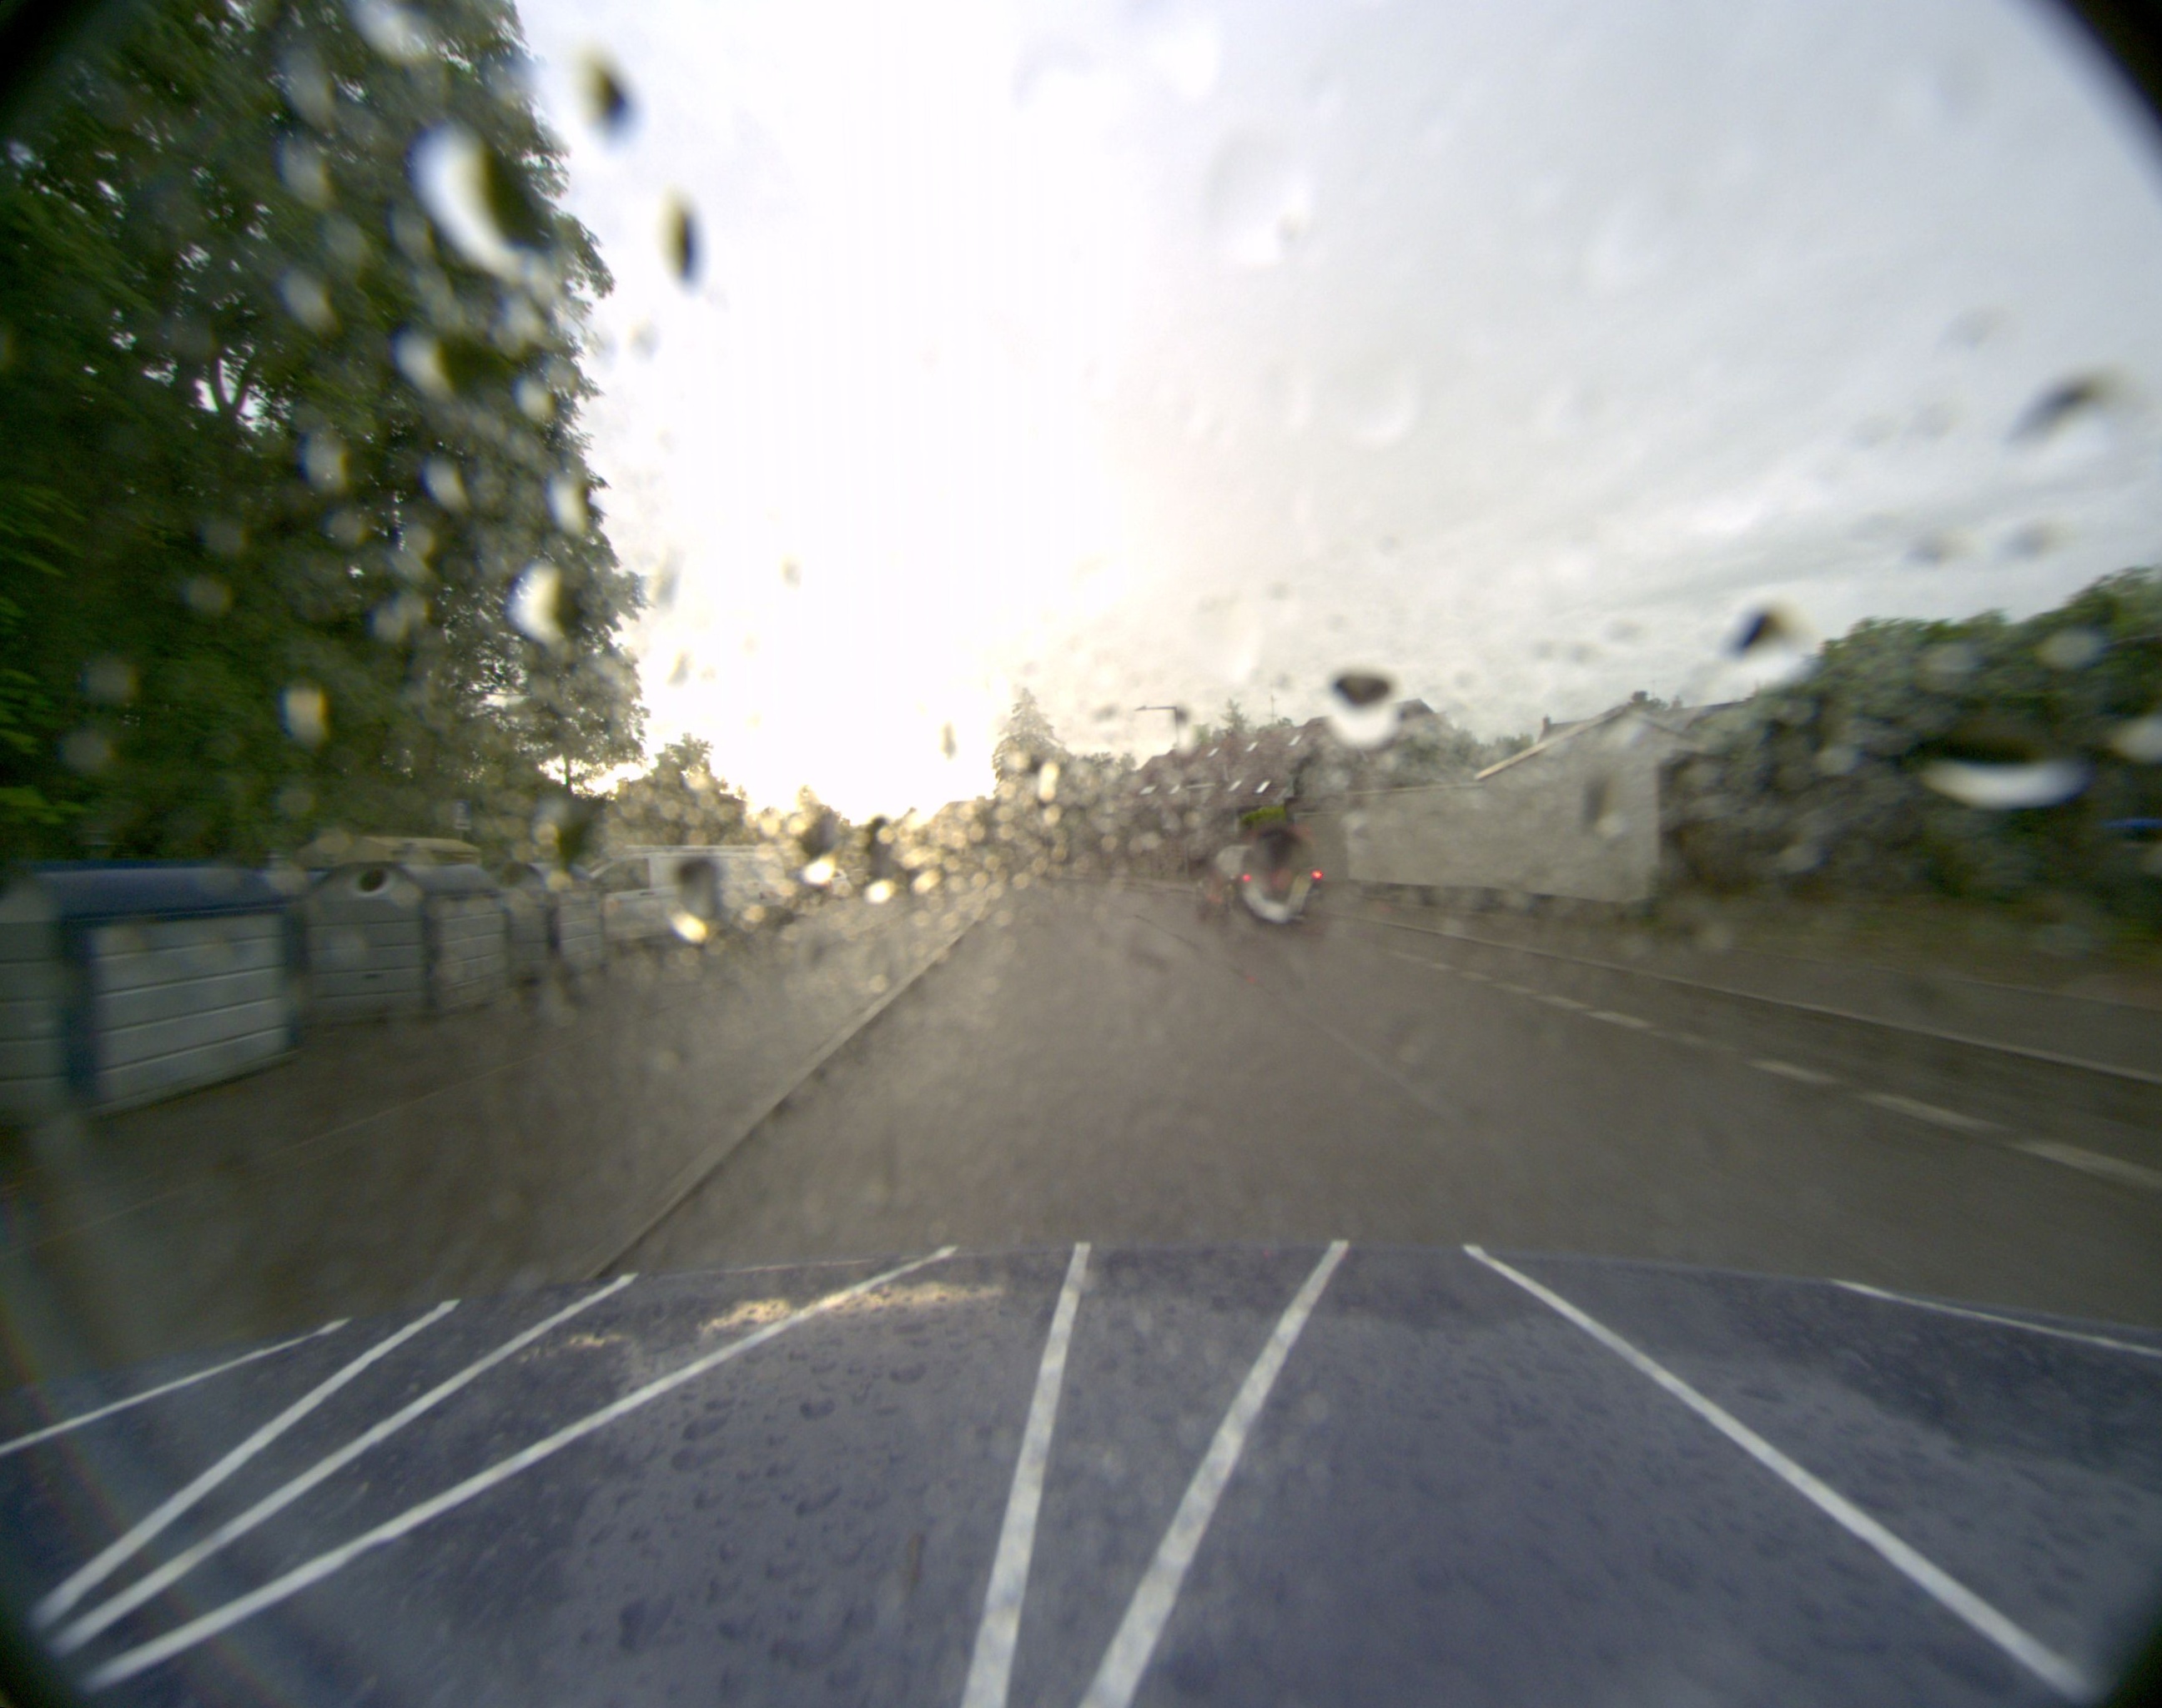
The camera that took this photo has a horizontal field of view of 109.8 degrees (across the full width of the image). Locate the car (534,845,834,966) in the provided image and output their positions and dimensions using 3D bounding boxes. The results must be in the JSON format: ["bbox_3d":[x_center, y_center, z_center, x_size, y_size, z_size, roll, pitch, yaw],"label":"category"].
[{"bbox_3d":[-7.838,0.896,15.392,2.151,1.929,4.851,-3,0,43],"label":"car"}]

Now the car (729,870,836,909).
[{"bbox_3d":[-12.692,1.488,32.466,1.713,1.393,3.802,-2,0,44],"label":"car"}]

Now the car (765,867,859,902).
[{"bbox_3d":[-12.722,1.421,36.124,1.747,1.471,3.803,-3,0,39],"label":"car"}]

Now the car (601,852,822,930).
[{"bbox_3d":[-11.085,1.029,23.139,2.325,1.957,5.492,-3,0,44],"label":"car"}]

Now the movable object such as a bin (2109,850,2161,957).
[{"bbox_3d":[9.705,0.428,6.642,0.687,0.899,0.619,-2,1,-13],"label":"movable object such as a bin"}]

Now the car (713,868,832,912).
[{"bbox_3d":[-11.901,1.368,29.472,1.713,1.393,3.850,-2,0,43],"label":"car"}]

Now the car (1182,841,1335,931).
[{"bbox_3d":[3.490,0.554,15.874,1.839,1.503,4.616,-4,1,-3],"label":"car"}]

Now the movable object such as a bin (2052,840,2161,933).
[{"bbox_3d":[10.799,0.314,7.877,0.620,0.899,0.686,-2,0,-12],"label":"movable object such as a bin"}]

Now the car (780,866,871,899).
[{"bbox_3d":[-13.286,1.447,39.653,1.747,1.498,4.099,-3,0,45],"label":"car"}]

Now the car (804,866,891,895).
[{"bbox_3d":[-13.297,1.481,43.336,4.323,1.455,1.808,-2,0,-37],"label":"car"}]
